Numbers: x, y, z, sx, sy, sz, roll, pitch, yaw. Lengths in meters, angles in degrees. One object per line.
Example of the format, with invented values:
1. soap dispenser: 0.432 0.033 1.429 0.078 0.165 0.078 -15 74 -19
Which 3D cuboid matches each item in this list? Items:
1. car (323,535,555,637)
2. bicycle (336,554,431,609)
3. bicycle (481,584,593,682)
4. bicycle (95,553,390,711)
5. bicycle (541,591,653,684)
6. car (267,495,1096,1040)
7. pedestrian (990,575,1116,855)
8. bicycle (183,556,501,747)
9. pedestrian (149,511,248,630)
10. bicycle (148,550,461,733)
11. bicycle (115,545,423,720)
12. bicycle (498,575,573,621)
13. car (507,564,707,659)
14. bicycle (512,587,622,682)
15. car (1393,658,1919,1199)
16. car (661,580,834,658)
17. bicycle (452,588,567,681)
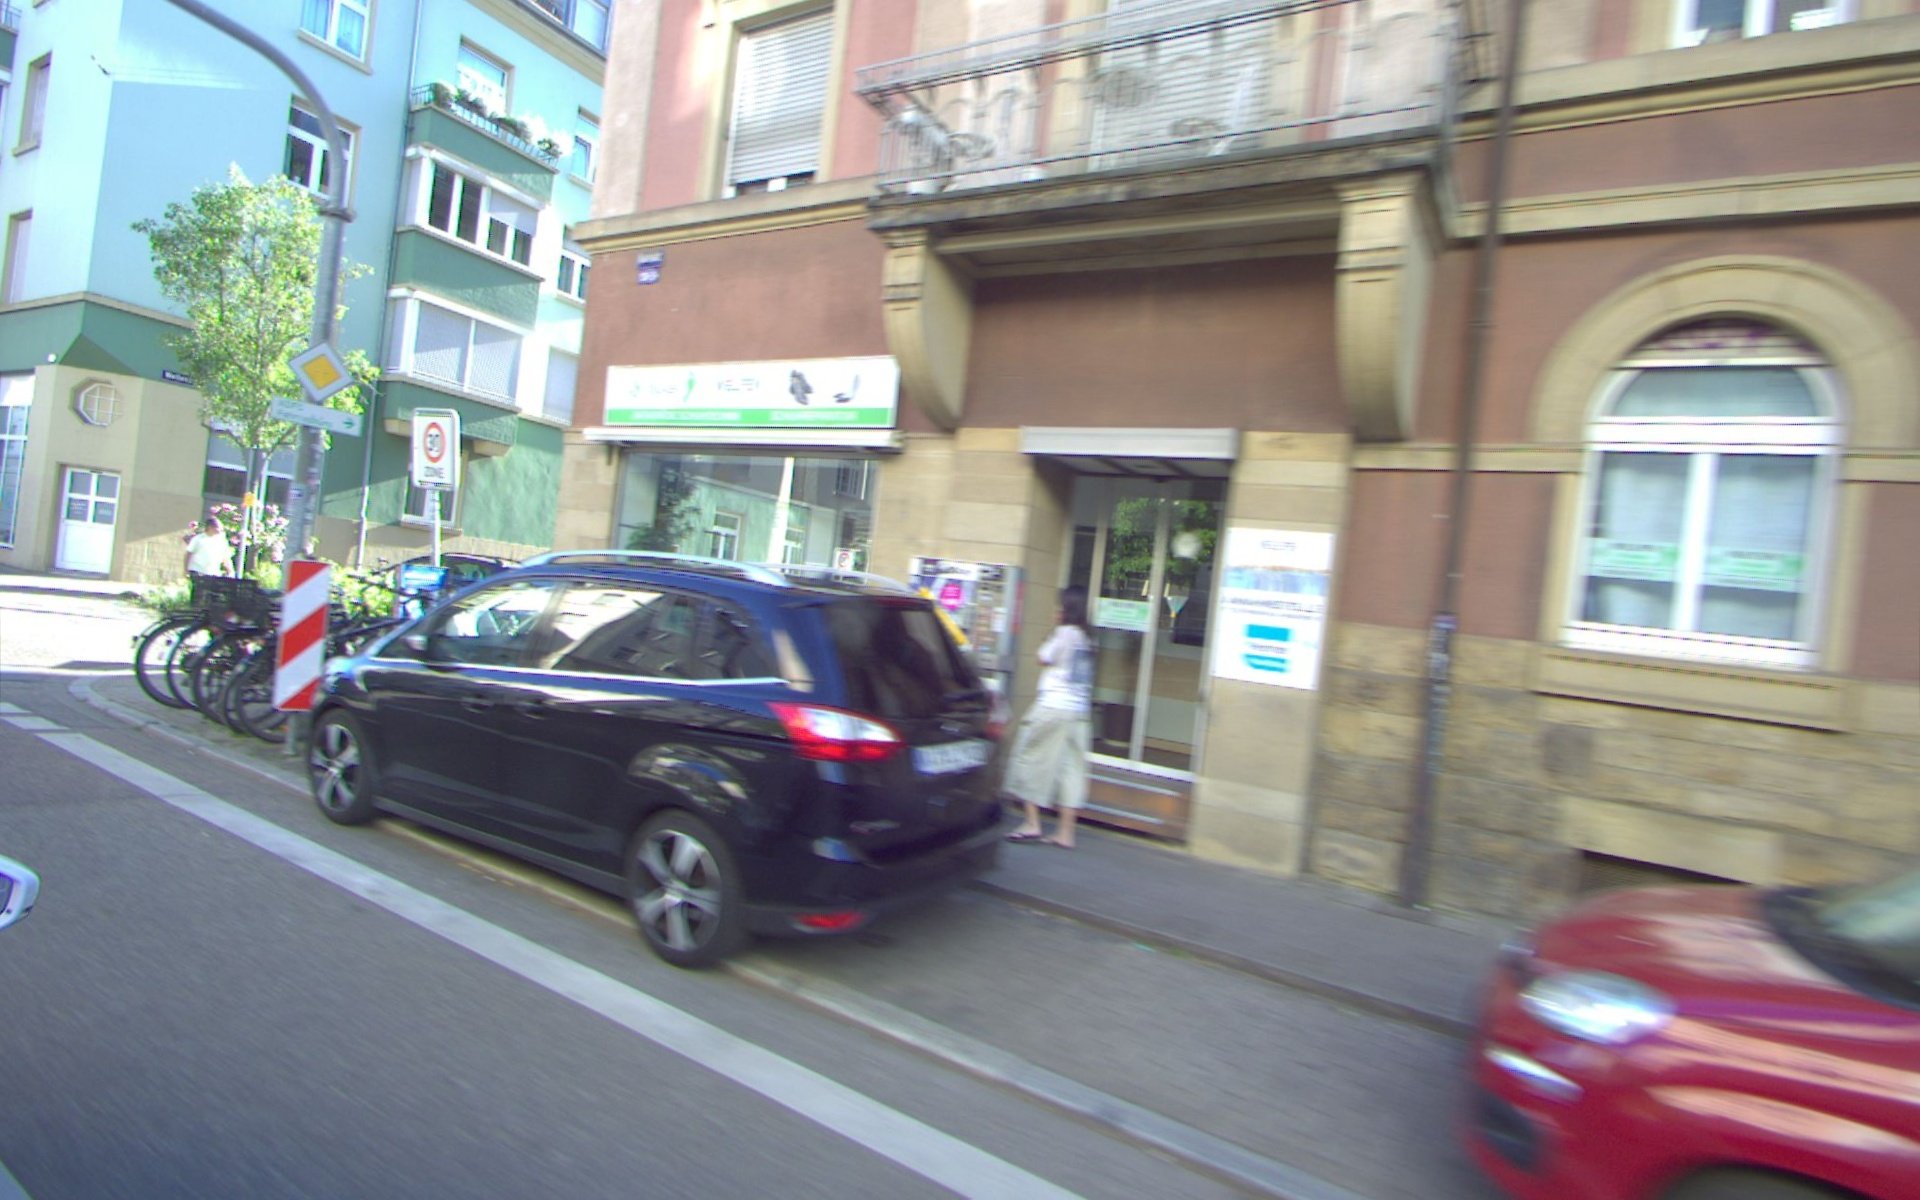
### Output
1. car: -11.032 -0.280 21.451 4.000 1.599 1.642 7 0 4
2. bicycle: -13.618 -0.420 23.812 0.448 1.076 1.898 7 -1 29
3. bicycle: -6.024 0.459 14.289 1.699 1.168 0.468 7 0 32
4. bicycle: -6.028 0.297 8.587 0.518 1.175 1.925 7 0 32
5. bicycle: -5.483 0.555 15.164 1.699 1.168 0.544 7 0 32
6. car: -1.722 0.498 5.472 4.433 1.759 1.753 7 3 33
7. pedestrian: 0.613 0.729 6.552 0.440 1.707 0.513 7 0 32
8. bicycle: -4.612 0.398 7.678 0.518 1.242 1.961 7 1 32
9. pedestrian: -11.522 -0.430 15.240 0.690 1.651 0.733 6 -2 15
10. bicycle: -5.088 0.344 7.973 0.518 1.242 1.961 7 1 32
11. bicycle: -5.562 0.292 8.251 0.518 1.242 1.961 7 1 32
12. bicycle: -11.558 -0.042 27.450 0.448 1.076 1.898 7 -1 29
13. car: -8.247 0.276 23.638 3.923 1.660 1.763 7 0 12
14. bicycle: -5.761 0.498 14.710 1.699 1.168 0.468 7 0 32
15. car: 3.205 1.205 2.376 3.669 1.613 1.755 7 -1 33
16. car: -6.101 0.562 29.084 4.367 1.660 1.844 7 0 13
17. bicycle: -6.193 0.462 13.793 1.699 1.062 0.468 7 0 32
